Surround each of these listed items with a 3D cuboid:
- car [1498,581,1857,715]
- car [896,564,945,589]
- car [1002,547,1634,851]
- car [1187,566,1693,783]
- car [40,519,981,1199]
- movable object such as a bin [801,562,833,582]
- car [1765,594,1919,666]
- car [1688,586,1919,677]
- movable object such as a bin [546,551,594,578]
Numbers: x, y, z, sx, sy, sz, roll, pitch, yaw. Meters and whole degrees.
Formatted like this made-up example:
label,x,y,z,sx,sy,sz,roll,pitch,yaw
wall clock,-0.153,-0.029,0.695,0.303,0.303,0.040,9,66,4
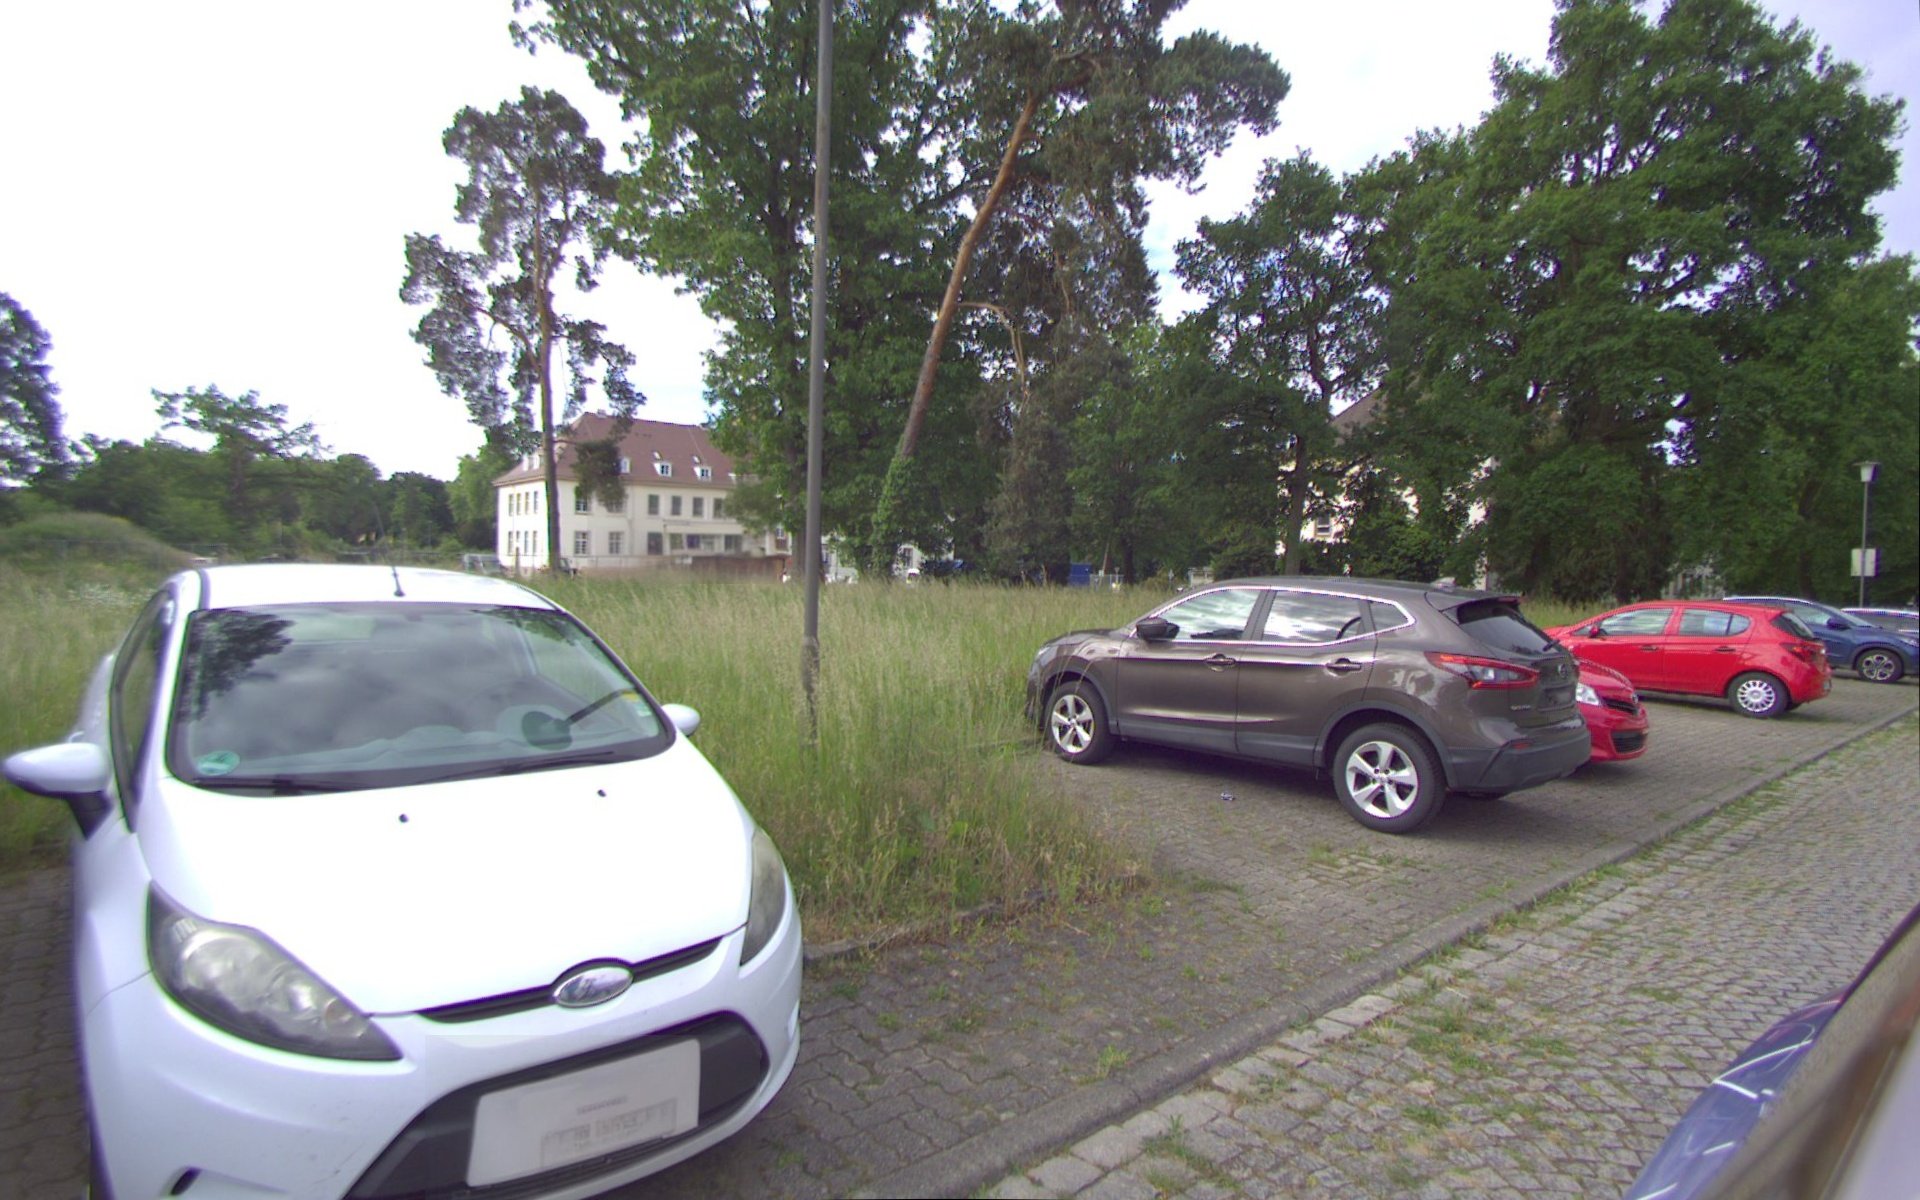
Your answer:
label,x,y,z,sx,sy,sz,roll,pitch,yaw
car,10.102,0.574,14.490,1.555,1.477,3.893,1,3,-41
car,-3.364,-1.976,86.845,1.995,2.039,3.935,2,2,45
car,2.467,0.478,7.886,1.790,1.618,4.269,1,3,-41
car,4.382,0.523,9.771,1.734,1.504,4.017,1,3,-40
car,-1.929,0.600,3.536,1.809,1.489,3.872,1,6,-41
movable object such as a bin,-14.961,-2.890,105.657,2.932,2.038,1.553,0,1,-40
car,21.491,0.706,23.686,1.555,1.443,3.876,1,3,-41
car,17.809,0.595,20.957,1.555,1.557,4.148,1,3,-41
movable object such as a bin,-30.931,-2.779,80.320,3.182,2.038,1.681,1,1,-36
